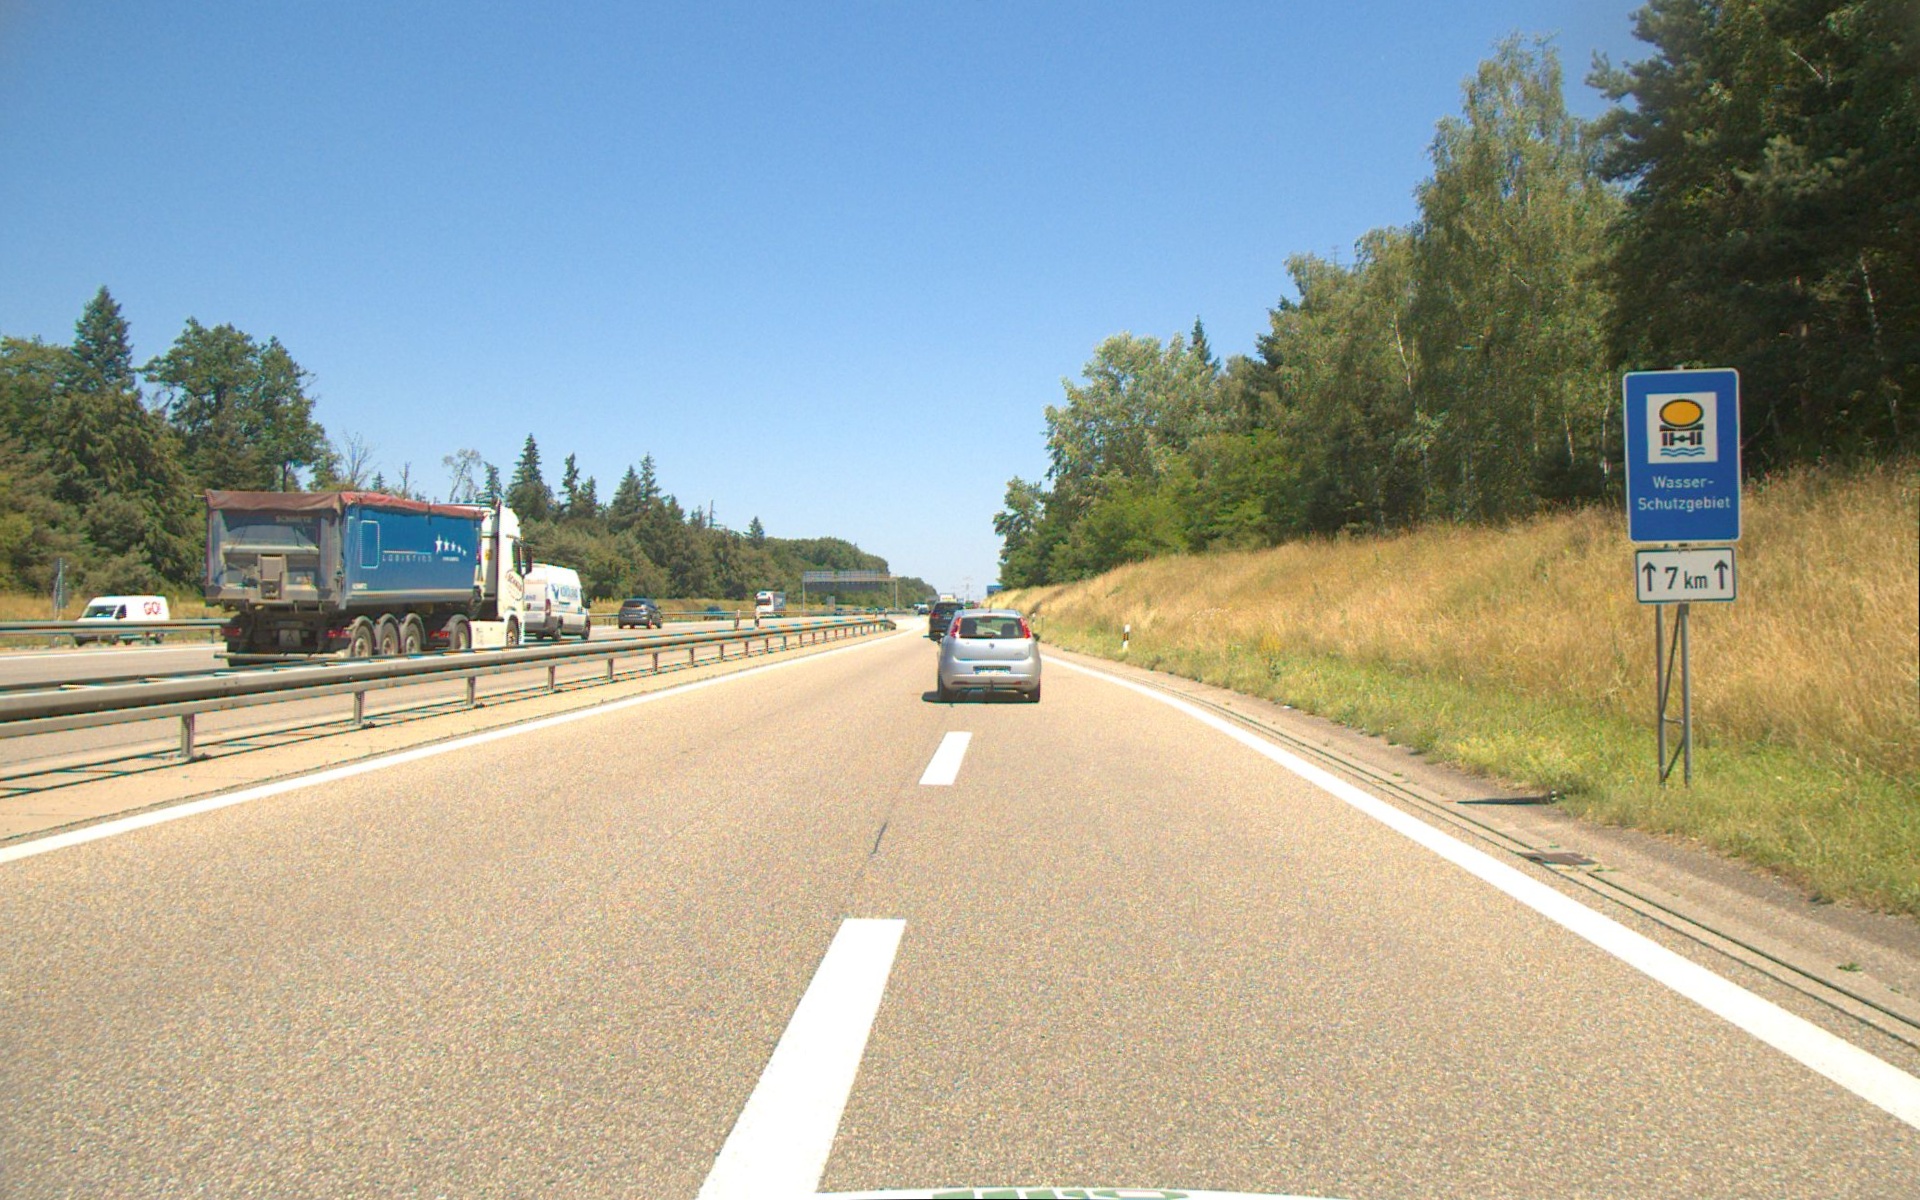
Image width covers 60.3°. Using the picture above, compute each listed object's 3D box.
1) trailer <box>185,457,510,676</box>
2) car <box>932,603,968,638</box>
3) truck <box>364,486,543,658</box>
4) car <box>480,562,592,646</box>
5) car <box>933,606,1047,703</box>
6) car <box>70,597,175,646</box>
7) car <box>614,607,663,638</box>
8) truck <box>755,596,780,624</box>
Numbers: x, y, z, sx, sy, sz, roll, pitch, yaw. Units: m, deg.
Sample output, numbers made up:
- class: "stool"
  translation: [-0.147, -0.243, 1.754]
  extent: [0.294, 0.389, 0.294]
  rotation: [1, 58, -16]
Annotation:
- class: "trailer"
  translation: [-12.205, -0.612, 34.278]
  extent: [2.713, 3.874, 9.888]
  rotation: [0, 0, 2]
- class: "car"
  translation: [-0.515, 1.035, 81.684]
  extent: [1.672, 1.706, 3.396]
  rotation: [0, -2, -2]
- class: "truck"
  translation: [-12.001, -0.636, 39.563]
  extent: [2.699, 3.874, 4.623]
  rotation: [0, 0, 2]
- class: "car"
  translation: [-15.792, 0.223, 62.082]
  extent: [2.578, 2.947, 6.473]
  rotation: [0, -1, -1]
- class: "car"
  translation: [0.440, 0.858, 27.535]
  extent: [1.672, 1.508, 3.395]
  rotation: [0, -1, -3]
- class: "car"
  translation: [-45.824, 1.195, 90.707]
  extent: [1.952, 2.588, 6.914]
  rotation: [0, -1, 2]
- class: "car"
  translation: [-17.987, 1.283, 92.648]
  extent: [1.953, 1.646, 3.999]
  rotation: [0, -1, -1]
- class: "truck"
  translation: [-30.116, 1.553, 258.995]
  extent: [2.532, 4.199, 9.325]
  rotation: [0, -1, 2]
